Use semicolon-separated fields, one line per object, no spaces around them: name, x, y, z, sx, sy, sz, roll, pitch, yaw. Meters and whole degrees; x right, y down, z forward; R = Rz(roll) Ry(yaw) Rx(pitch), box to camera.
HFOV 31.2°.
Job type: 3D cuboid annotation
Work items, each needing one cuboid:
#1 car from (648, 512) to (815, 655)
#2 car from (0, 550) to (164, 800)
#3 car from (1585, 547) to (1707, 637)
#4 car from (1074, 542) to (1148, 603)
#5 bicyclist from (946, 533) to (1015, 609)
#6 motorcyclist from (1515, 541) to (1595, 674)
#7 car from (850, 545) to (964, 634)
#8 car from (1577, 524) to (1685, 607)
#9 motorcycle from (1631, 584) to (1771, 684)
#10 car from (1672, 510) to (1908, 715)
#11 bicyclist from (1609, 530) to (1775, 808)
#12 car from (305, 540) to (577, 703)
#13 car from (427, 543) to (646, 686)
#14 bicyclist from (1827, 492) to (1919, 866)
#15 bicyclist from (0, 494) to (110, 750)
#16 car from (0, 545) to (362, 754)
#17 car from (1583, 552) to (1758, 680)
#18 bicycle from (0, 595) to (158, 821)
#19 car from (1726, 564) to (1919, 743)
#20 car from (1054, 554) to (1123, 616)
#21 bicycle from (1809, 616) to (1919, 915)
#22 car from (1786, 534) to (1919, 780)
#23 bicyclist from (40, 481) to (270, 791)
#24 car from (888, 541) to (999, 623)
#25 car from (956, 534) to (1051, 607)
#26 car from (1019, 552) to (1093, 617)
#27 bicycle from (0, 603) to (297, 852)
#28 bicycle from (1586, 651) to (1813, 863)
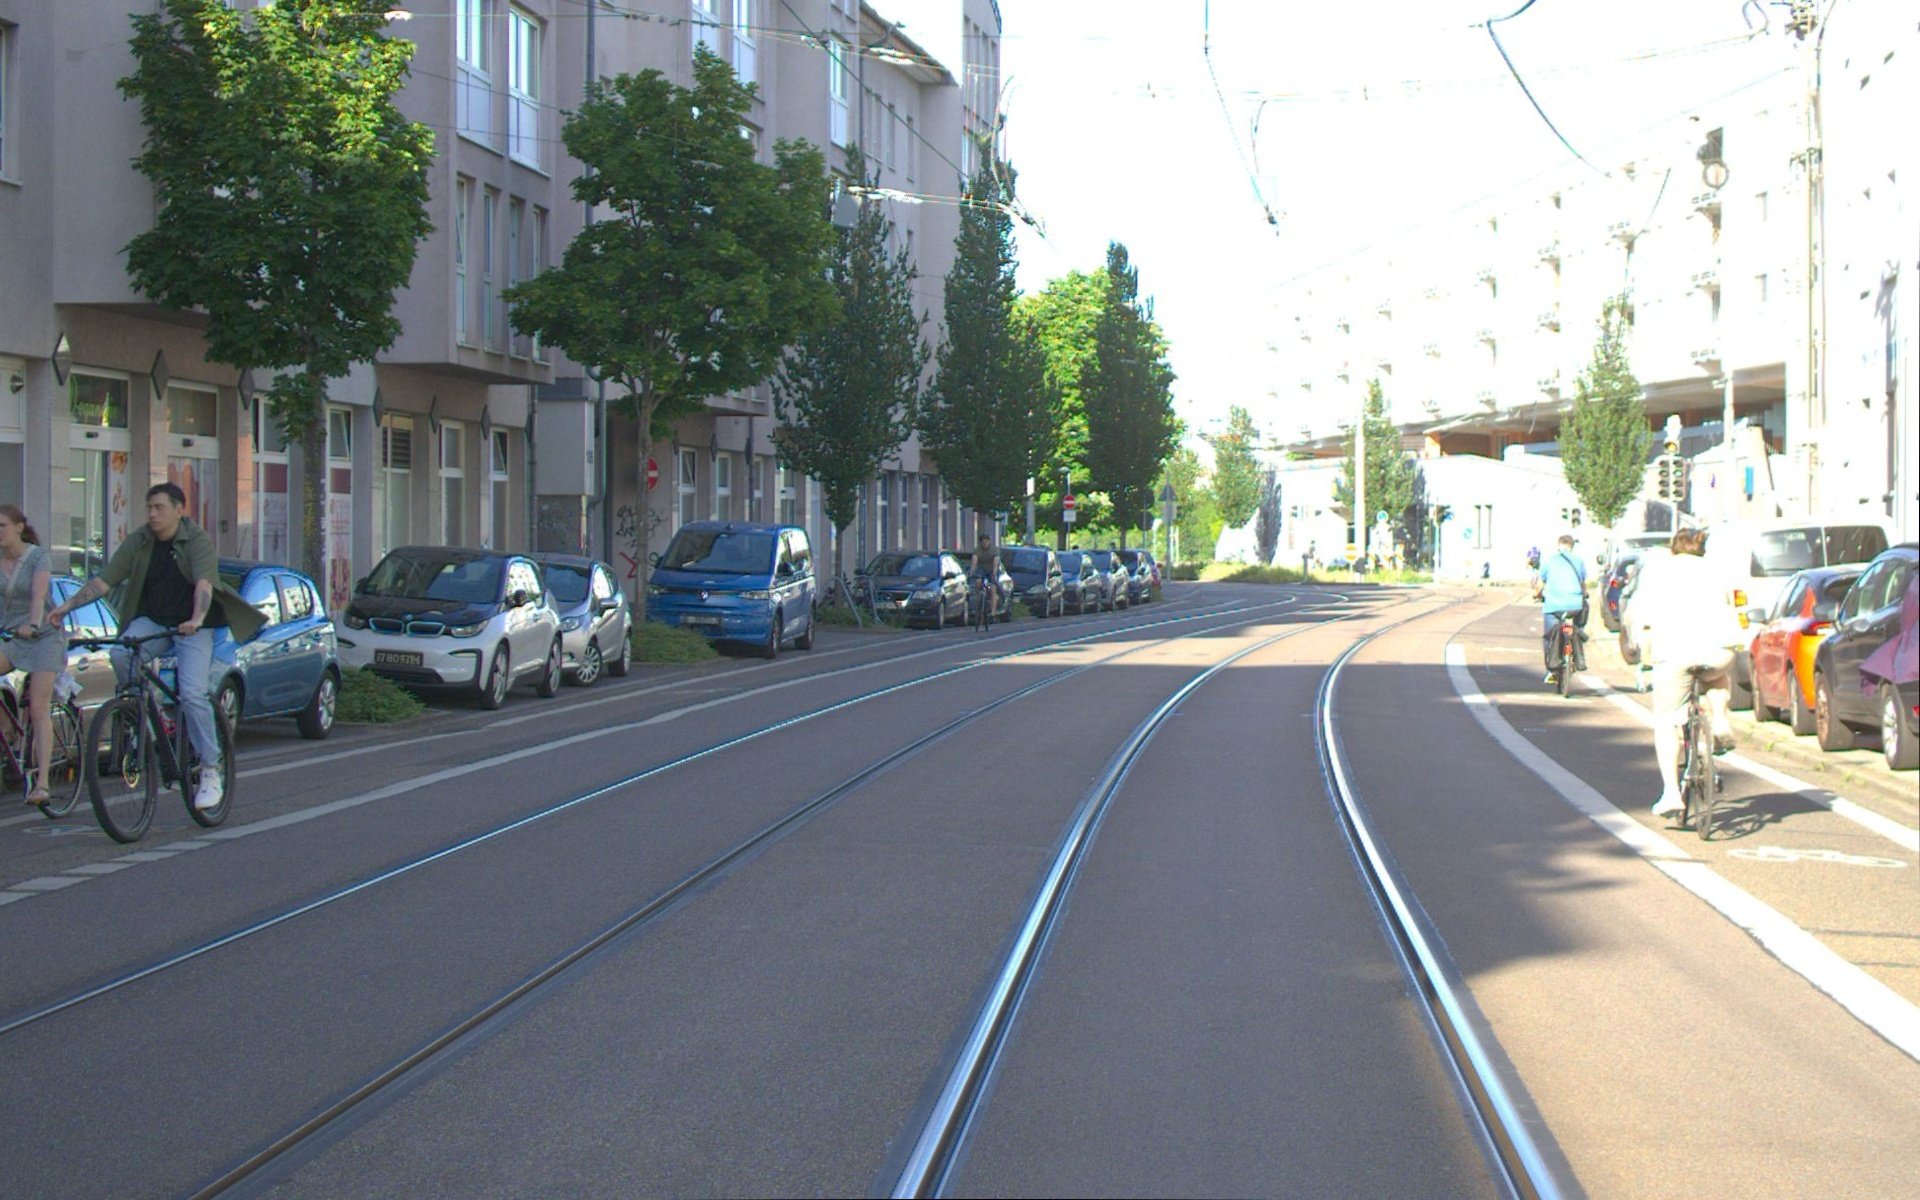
car;-3.259;-0.272;49.846;1.665;1.980;4.342;0;1;6
car;-6.594;0.425;21.987;1.744;1.438;4.000;3;1;4
car;12.955;-0.177;65.123;1.844;1.640;3.964;0;1;5
car;4.168;-0.765;94.427;1.844;1.640;3.697;0;1;5
bicyclist;0.373;-0.525;61.064;1.183;1.326;1.095;0;1;3
motorcyclist;6.366;0.070;36.796;0.728;1.401;1.020;0;1;4
car;-0.976;-0.219;65.302;1.665;1.612;3.999;0;1;6
car;14.606;-0.769;75.020;1.844;1.750;4.548;0;1;5
motorcycle;8.848;0.393;41.118;0.490;1.140;1.771;0;1;-35
car;8.523;0.081;35.588;1.787;1.964;4.154;-1;1;6
bicyclist;3.952;0.354;18.629;0.728;1.457;1.020;0;1;4
car;-5.350;0.175;35.918;1.830;1.588;3.999;0;1;7
car;-4.948;0.130;40.642;1.830;1.588;4.000;0;1;4
bicyclist;4.570;0.346;15.845;0.934;1.670;0.969;0;1;4
bicyclist;-5.236;0.125;19.171;0.623;1.376;0.868;-4;1;5
car;-6.256;0.340;27.315;1.830;1.484;3.999;-2;1;7
car;9.662;0.170;47.025;1.844;1.640;4.548;0;1;5
bicycle;-5.262;0.588;19.139;0.839;1.145;2.232;-4;1;5
car;8.034;0.432;30.829;1.796;1.478;3.778;0;1;5
car;3.307;-0.396;87.912;1.592;1.535;3.190;0;1;5
bicycle;4.641;0.748;15.999;0.821;1.232;2.462;4;1;4
car;7.412;0.349;25.955;1.661;1.664;3.903;-3;1;5
bicyclist;-4.245;0.181;18.191;0.882;1.556;0.868;-3;1;5
car;-0.309;-0.402;70.991;1.844;1.640;4.548;0;1;5
car;1.033;-0.715;79.955;1.844;1.640;4.548;0;1;5
car;2.362;-0.384;83.761;1.592;1.535;3.190;0;1;5
bicycle;-4.249;0.636;18.154;0.839;1.145;2.232;-4;1;5
bicycle;3.958;0.808;18.628;0.738;0.921;2.836;3;1;4
